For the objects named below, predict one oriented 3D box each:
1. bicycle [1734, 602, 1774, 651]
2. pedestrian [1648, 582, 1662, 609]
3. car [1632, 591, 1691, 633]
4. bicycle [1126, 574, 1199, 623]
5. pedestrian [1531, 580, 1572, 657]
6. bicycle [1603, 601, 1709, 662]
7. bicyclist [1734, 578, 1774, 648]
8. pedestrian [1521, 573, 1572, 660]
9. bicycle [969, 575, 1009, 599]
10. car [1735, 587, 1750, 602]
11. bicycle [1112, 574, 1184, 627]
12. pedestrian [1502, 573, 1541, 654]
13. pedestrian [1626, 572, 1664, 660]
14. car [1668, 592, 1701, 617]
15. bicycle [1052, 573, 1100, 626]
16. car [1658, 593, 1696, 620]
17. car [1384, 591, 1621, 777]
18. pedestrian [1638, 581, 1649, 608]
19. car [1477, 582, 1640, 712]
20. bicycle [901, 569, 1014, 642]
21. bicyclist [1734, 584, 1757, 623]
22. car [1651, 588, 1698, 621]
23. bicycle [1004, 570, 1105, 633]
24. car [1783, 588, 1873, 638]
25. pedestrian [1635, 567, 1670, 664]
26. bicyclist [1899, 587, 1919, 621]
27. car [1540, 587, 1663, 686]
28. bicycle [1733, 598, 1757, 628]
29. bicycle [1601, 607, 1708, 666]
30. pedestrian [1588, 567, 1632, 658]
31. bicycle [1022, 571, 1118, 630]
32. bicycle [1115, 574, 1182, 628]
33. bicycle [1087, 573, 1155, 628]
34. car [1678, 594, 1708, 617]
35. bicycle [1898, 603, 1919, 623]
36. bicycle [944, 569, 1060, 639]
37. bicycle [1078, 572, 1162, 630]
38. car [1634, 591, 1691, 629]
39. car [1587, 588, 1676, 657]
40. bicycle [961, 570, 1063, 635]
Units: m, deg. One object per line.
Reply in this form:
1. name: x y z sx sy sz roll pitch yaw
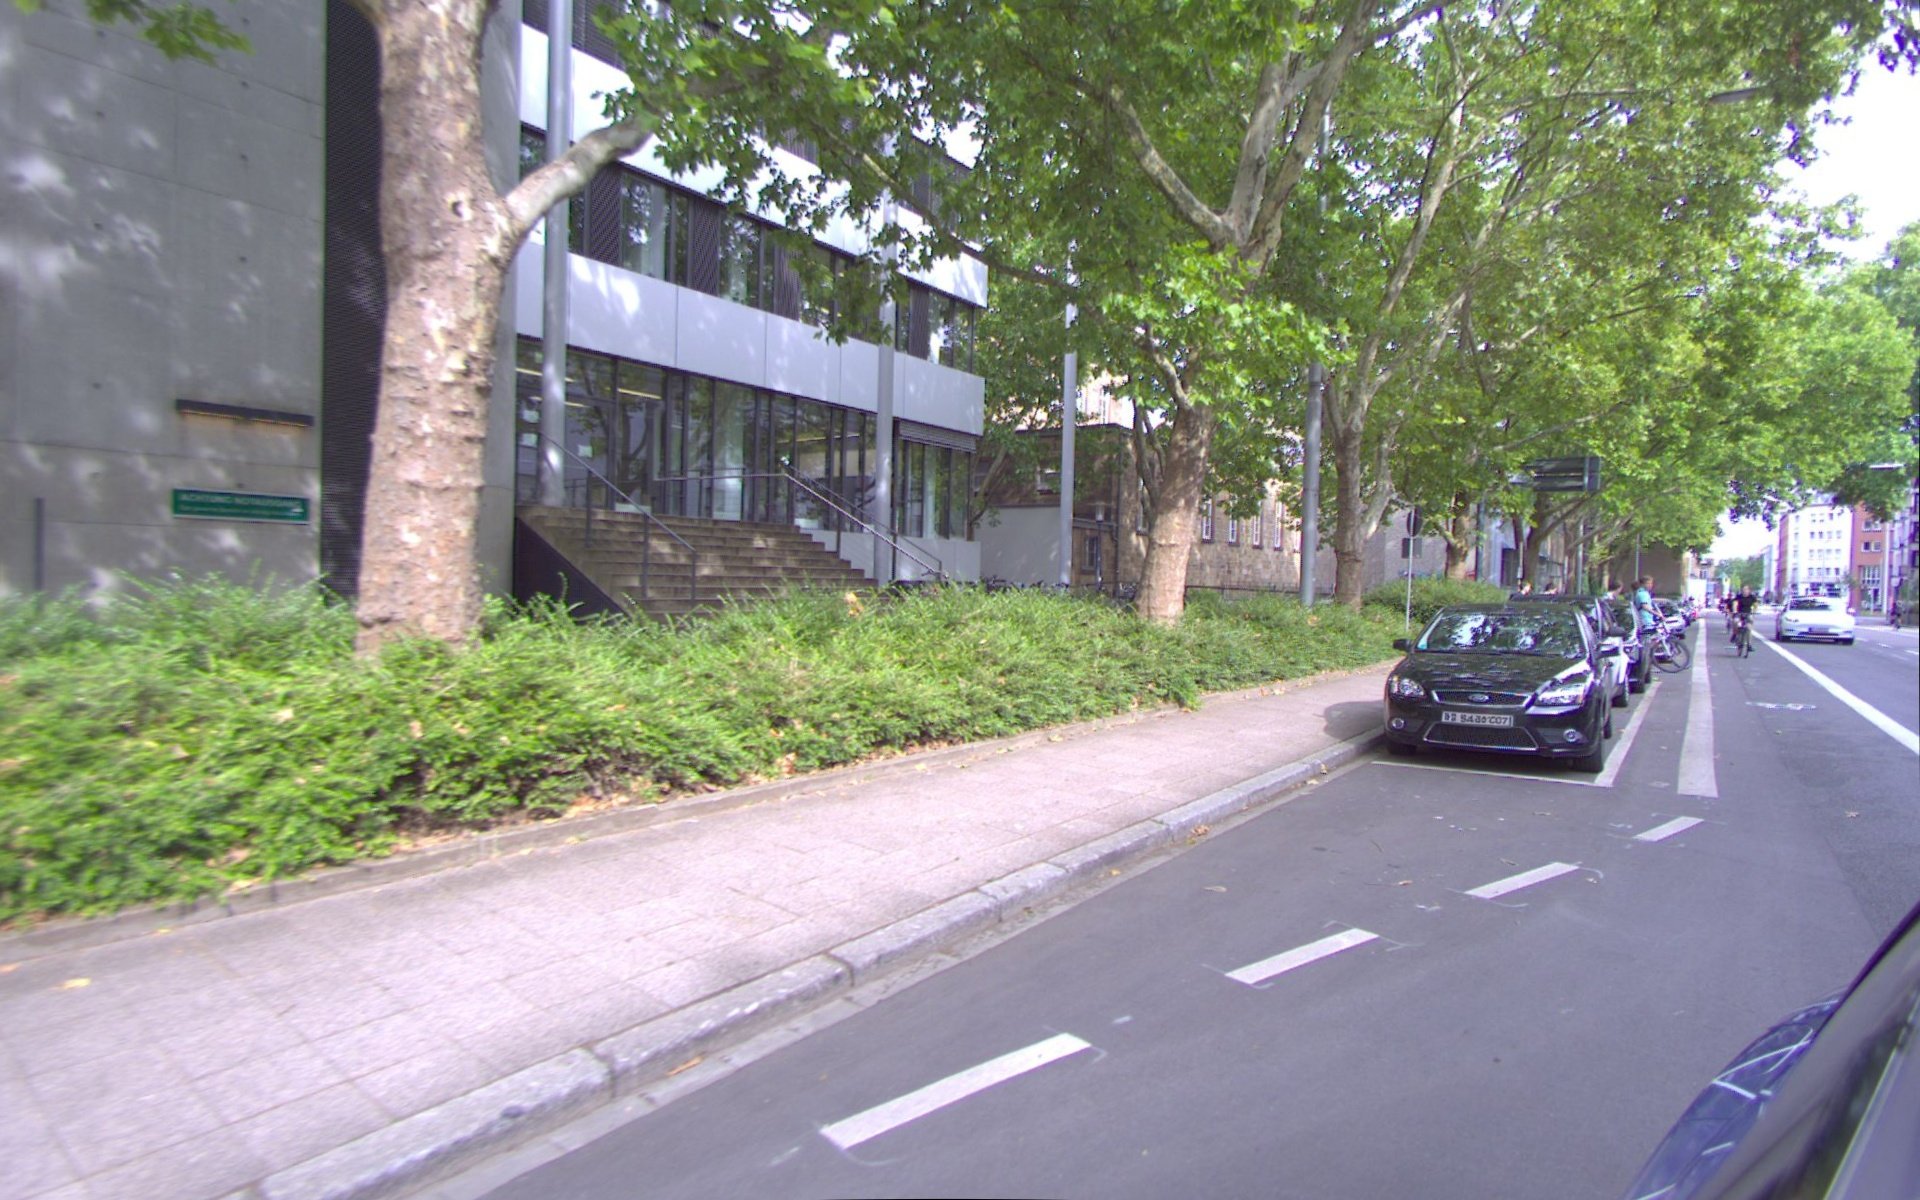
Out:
1. bicycle: 20.334 0.657 25.953 0.759 1.183 1.923 1 1 37
2. pedestrian: 47.692 -0.333 69.461 0.589 1.806 0.470 6 4 36
3. car: 26.194 0.413 37.890 1.635 1.465 3.838 0 0 32
4. bicycle: 5.053 -0.046 25.315 1.666 1.131 0.598 4 2 31
5. pedestrian: 13.213 0.407 22.598 0.719 1.679 0.646 1 0 37
6. bicycle: 14.950 0.660 21.774 1.773 1.232 0.550 1 0 20
7. bicyclist: 20.293 0.314 25.868 0.761 1.730 0.905 1 1 37
8. pedestrian: 12.742 0.330 21.991 0.869 1.839 0.770 1 0 37
9. bicycle: 1.100 -0.505 38.742 1.619 0.889 0.501 3 4 42
10. car: 138.587 -0.961 179.341 1.989 2.593 4.734 2 1 37
11. bicycle: 4.313 -0.003 23.261 1.531 1.131 0.463 3 2 30
12. pedestrian: 13.216 0.306 23.813 0.719 1.878 0.694 1 0 37
13. pedestrian: 14.941 0.333 22.098 0.515 1.868 0.739 1 0 22
14. car: 46.155 0.280 64.429 1.594 1.524 4.381 0 0 37
15. bicycle: 2.618 -0.031 22.688 0.488 1.131 1.422 3 2 31
16. car: 40.270 0.331 56.769 1.635 1.450 4.512 0 0 37
17. car: 5.644 0.641 10.236 1.691 1.443 4.368 0 1 34
18. pedestrian: 47.136 -0.365 69.792 0.500 1.806 0.521 6 4 36
19. car: 8.101 0.546 13.637 1.533 1.562 2.562 0 1 39
20. bicycle: -0.056 0.065 17.461 1.911 1.131 0.664 4 2 37
21. bicyclist: 33.216 0.145 42.799 0.745 1.619 0.808 1 0 37
22. car: 37.094 0.224 52.616 1.915 1.642 4.425 0 0 35
23. bicycle: 1.866 0.015 20.218 1.911 1.131 0.664 4 2 37
24. car: 30.015 0.384 35.104 1.990 1.585 4.491 2 2 36
25. pedestrian: 14.378 0.309 21.030 0.471 1.959 0.738 1 0 26
26. bicyclist: 52.662 0.202 56.177 0.650 1.833 1.032 1 1 36
27. car: 11.090 0.541 17.409 1.524 1.521 3.611 0 1 37
28. bicycle: 33.198 0.568 42.801 0.759 1.184 1.923 1 -1 37
29. bicycle: 14.226 0.734 20.771 1.723 1.119 0.547 1 1 27
30. pedestrian: 14.767 0.274 22.989 0.791 2.022 0.740 1 0 37
31. bicycle: 2.293 -0.006 21.244 1.911 1.131 0.664 4 2 37
32. bicycle: 4.235 0.010 22.768 1.371 1.131 0.464 3 2 30
33. bicycle: 3.576 -0.004 22.518 1.367 1.131 0.507 3 2 23
34. car: 49.575 0.344 68.416 1.594 1.465 4.050 0 0 37
35. bicycle: 52.677 0.732 56.202 0.644 1.027 2.050 1 1 36
36. bicycle: 0.745 0.047 18.508 2.075 1.131 0.664 4 2 37
37. bicycle: 3.468 0.006 21.880 1.677 1.131 0.619 3 2 19
38. car: 28.943 0.367 41.661 1.750 1.465 4.161 0 0 37
39. car: 16.567 0.492 24.959 1.674 1.535 4.488 -1 0 34
40. bicycle: 0.993 0.022 19.617 1.911 1.131 0.664 4 2 37
